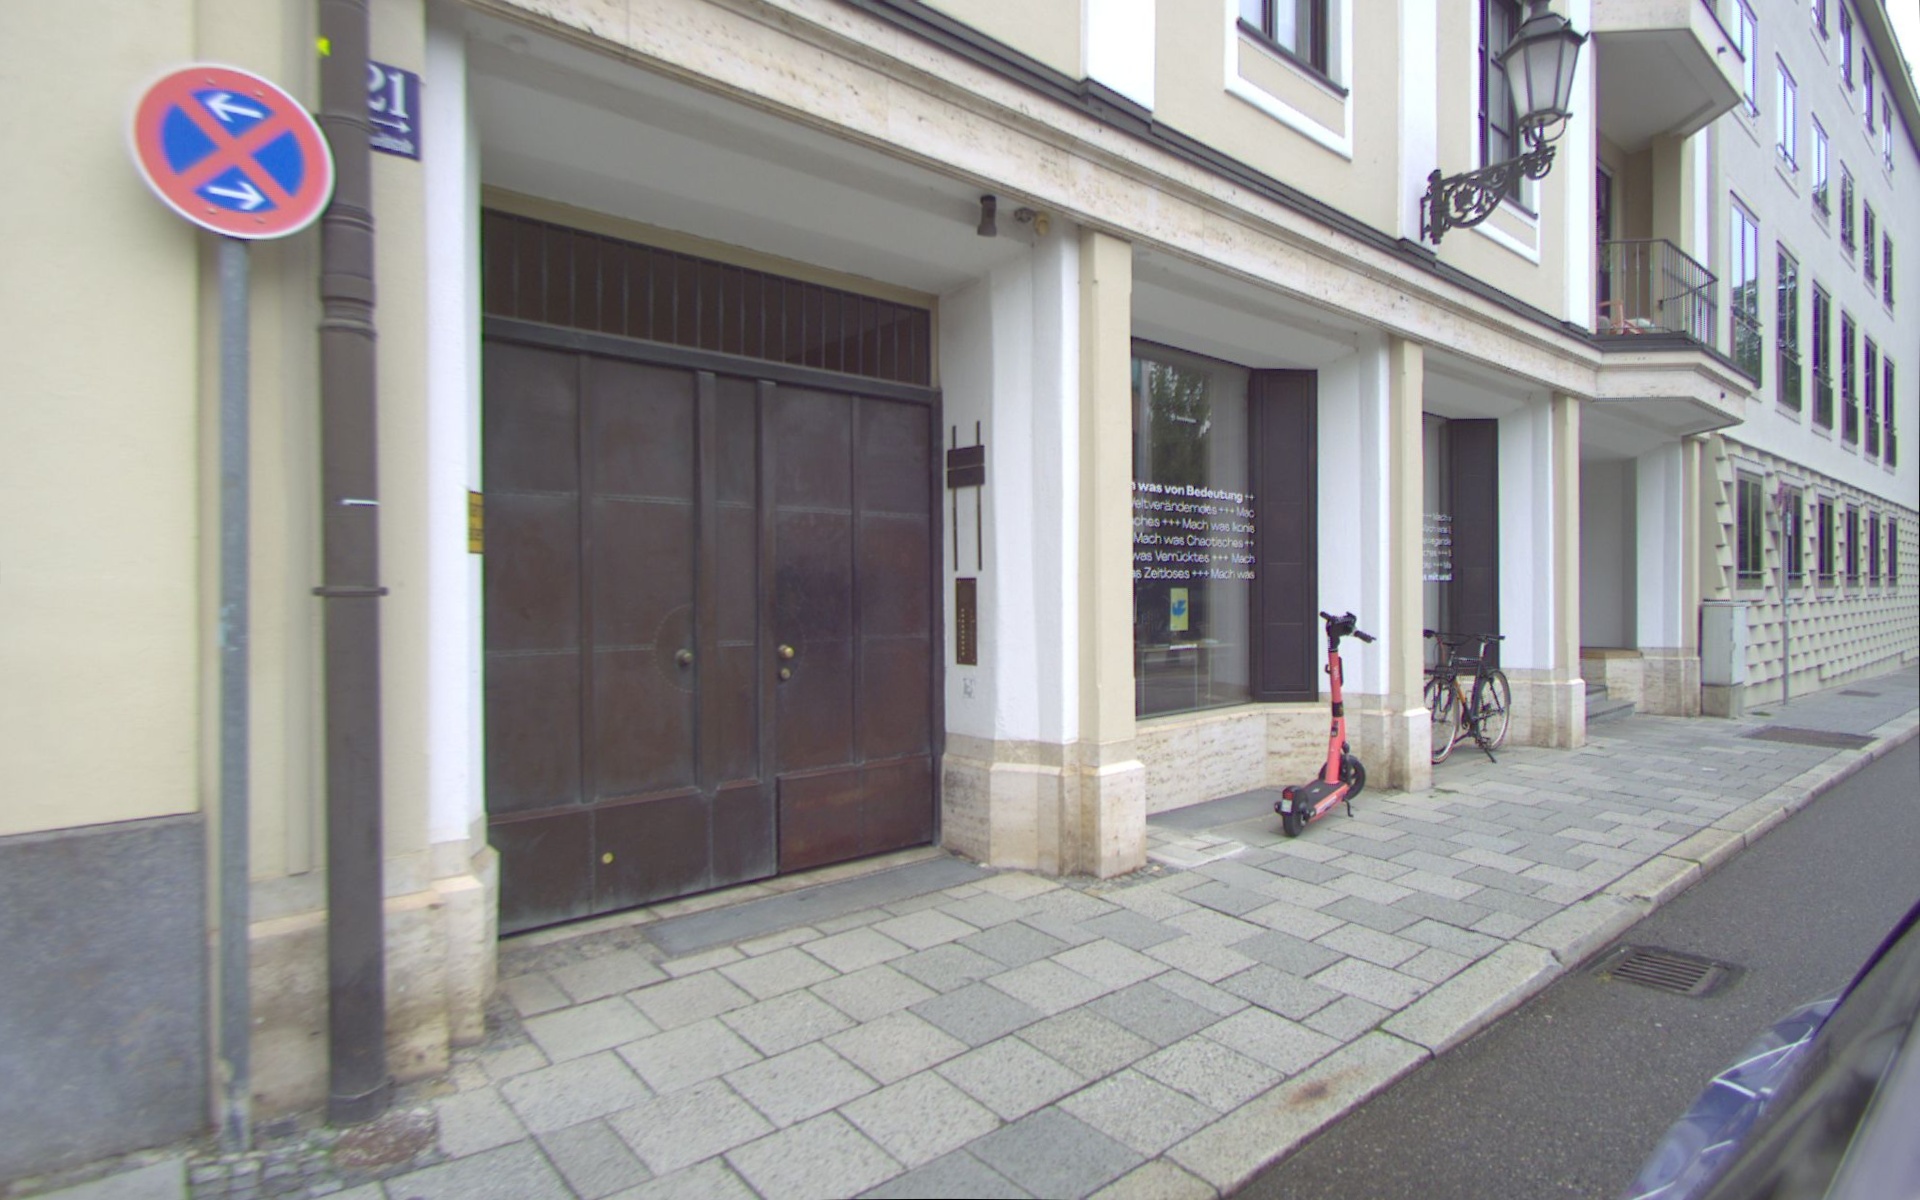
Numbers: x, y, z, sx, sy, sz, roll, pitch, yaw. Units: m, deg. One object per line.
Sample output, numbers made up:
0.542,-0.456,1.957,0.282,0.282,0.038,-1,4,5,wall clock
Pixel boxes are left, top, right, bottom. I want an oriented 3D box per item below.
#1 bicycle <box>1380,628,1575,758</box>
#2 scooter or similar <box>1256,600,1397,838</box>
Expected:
4.501,0.764,8.748,2.037,1.006,0.466,1,0,-31,bicycle
2.290,0.662,6.249,0.463,1.274,1.261,3,3,35,scooter or similar
